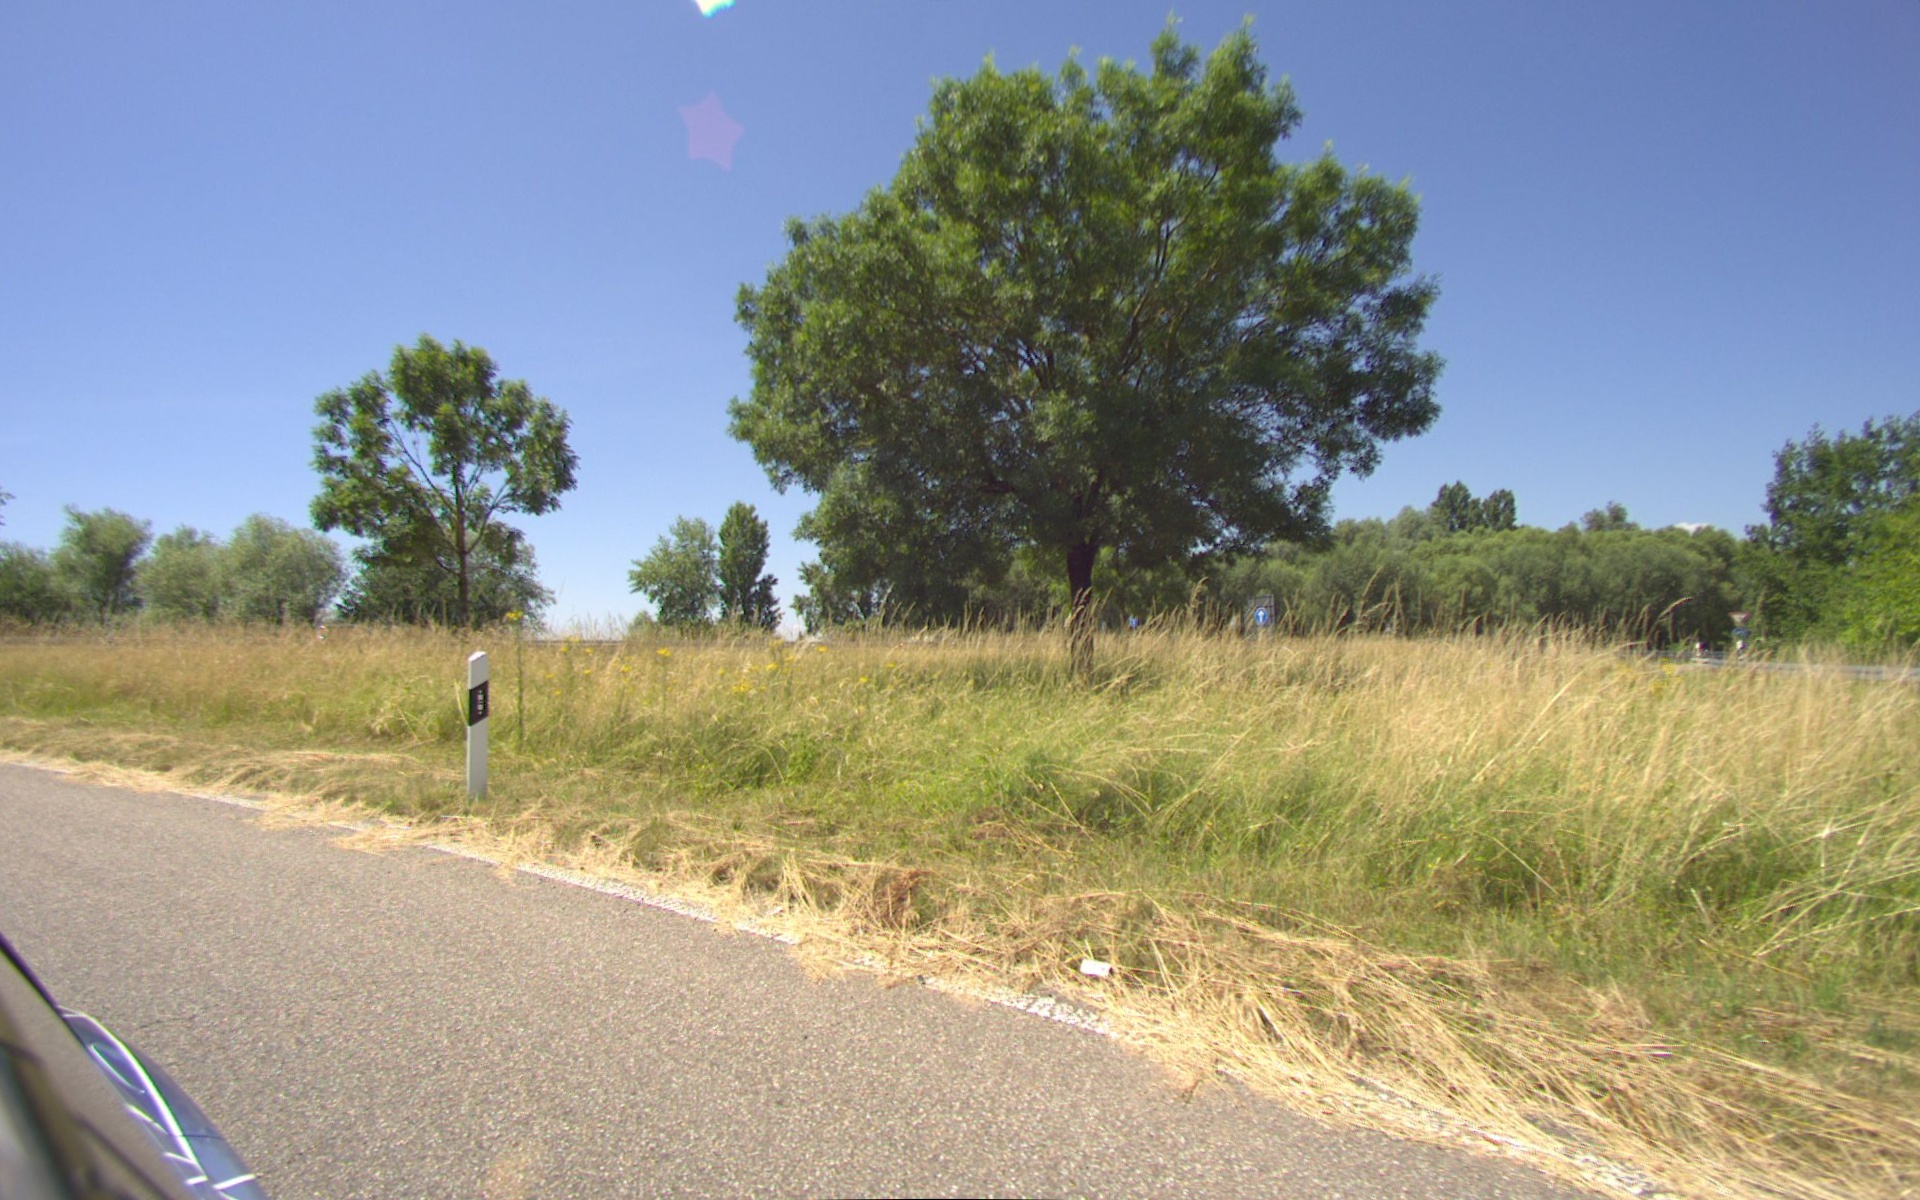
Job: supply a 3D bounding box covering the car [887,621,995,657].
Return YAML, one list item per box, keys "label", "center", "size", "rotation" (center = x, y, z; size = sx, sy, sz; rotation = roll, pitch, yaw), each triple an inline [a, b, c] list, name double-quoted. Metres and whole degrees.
- label: "car"
  center: [-0.853, 1.799, 46.586]
  size: [4.564, 1.585, 2.006]
  rotation: [1, -2, -30]

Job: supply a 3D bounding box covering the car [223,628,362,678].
- label: "car"
  center: [-23.149, 1.812, 35.275]
  size: [3.931, 1.623, 1.837]
  rotation: [1, -1, -30]
